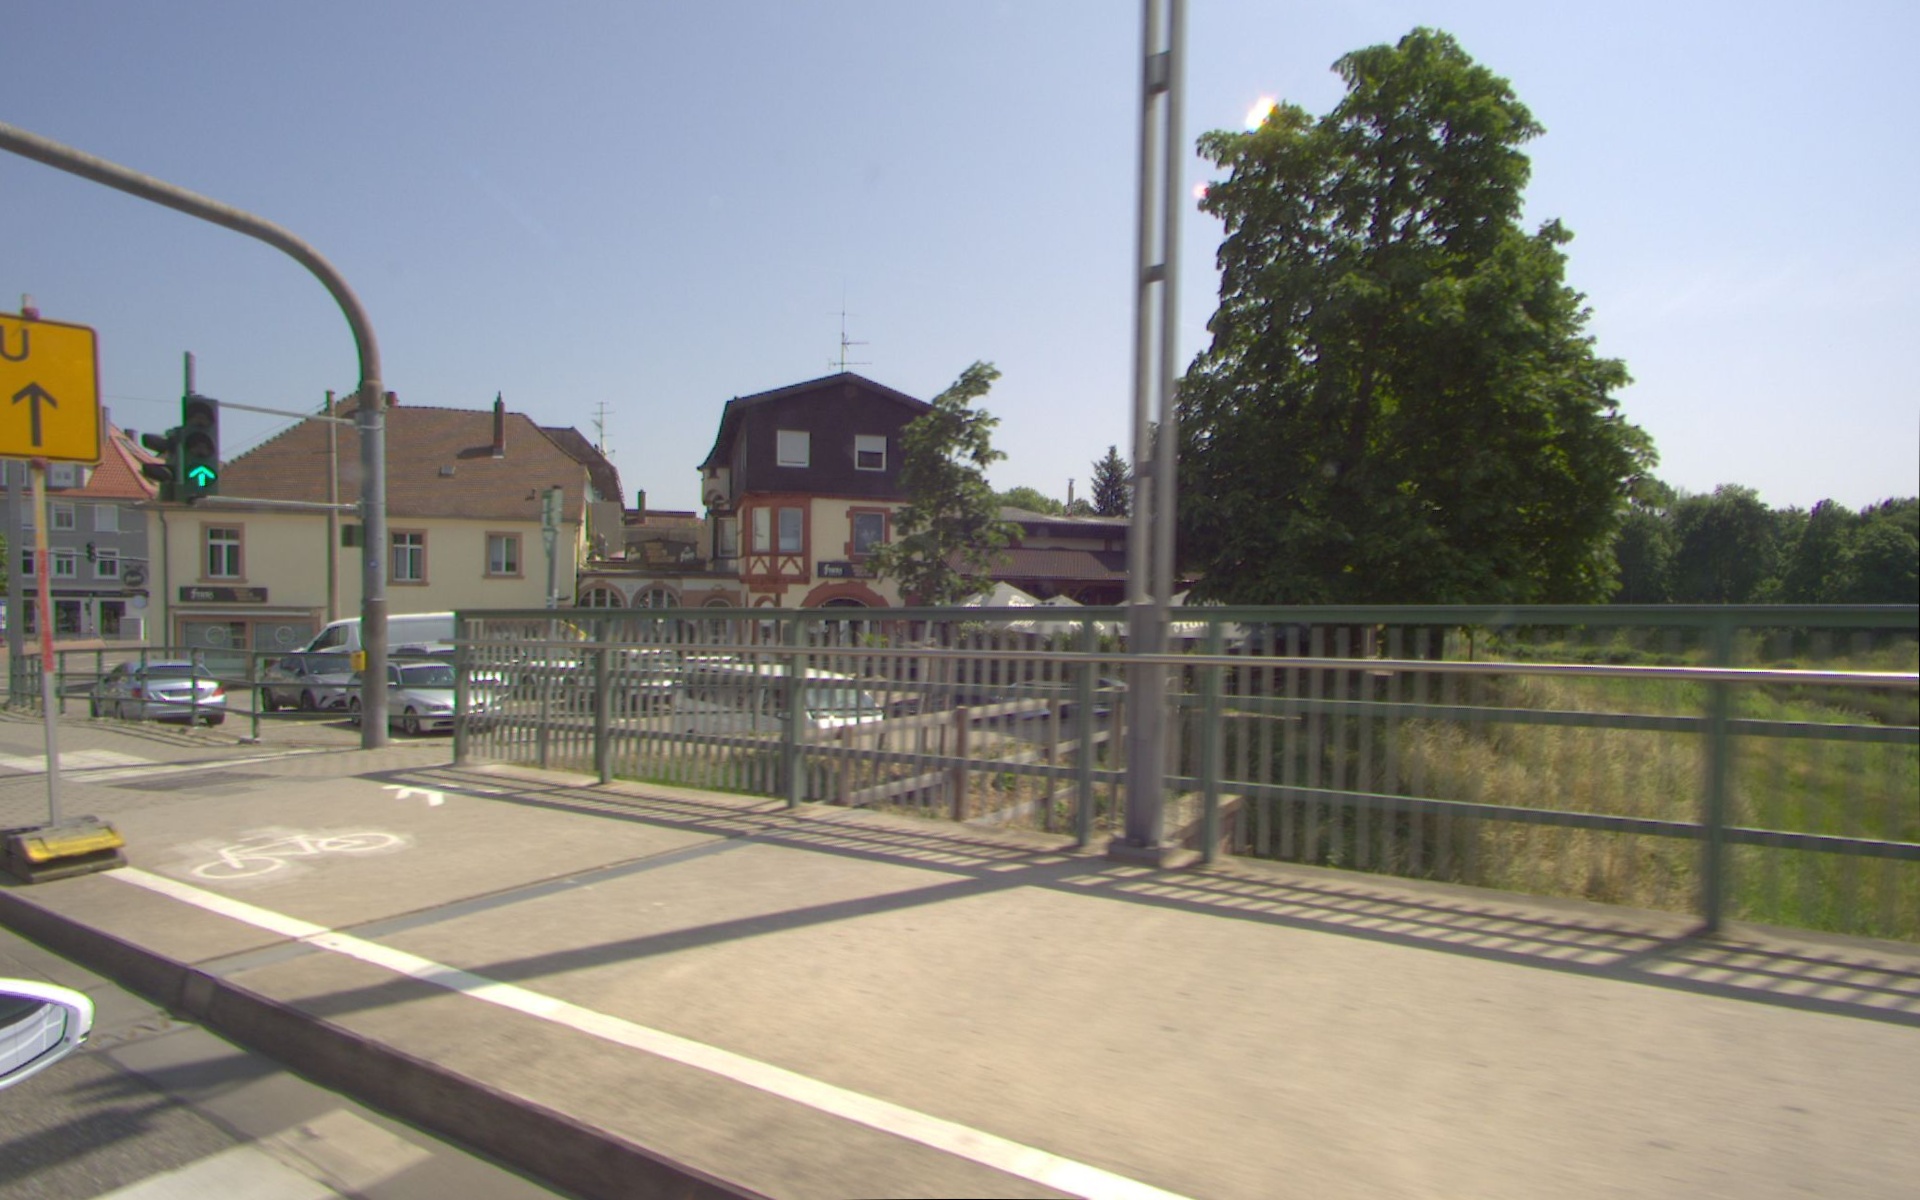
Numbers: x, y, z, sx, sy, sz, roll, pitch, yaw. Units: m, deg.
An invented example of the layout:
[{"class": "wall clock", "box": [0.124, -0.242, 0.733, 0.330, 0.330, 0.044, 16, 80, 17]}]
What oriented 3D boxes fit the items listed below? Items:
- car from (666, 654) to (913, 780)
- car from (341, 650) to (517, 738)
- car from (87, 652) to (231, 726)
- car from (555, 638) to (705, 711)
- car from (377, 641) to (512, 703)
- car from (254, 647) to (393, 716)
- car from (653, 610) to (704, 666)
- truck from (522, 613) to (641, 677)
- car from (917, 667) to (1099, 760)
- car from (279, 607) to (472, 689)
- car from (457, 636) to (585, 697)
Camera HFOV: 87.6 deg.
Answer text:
[{"class": "car", "box": [-3.073, 1.926, 17.574, 4.279, 1.733, 1.887, 1, -1, 39]}, {"class": "car", "box": [-12.045, 2.024, 22.607, 4.430, 1.600, 1.921, 1, -1, 39]}, {"class": "car", "box": [-18.733, 2.008, 23.367, 4.201, 1.490, 1.745, -1, -2, 39]}, {"class": "car", "box": [-8.677, 1.874, 26.185, 4.201, 1.727, 1.745, -1, -2, 39]}, {"class": "car", "box": [-14.163, 1.905, 27.417, 4.201, 1.538, 1.745, -1, -2, 39]}, {"class": "car", "box": [-16.346, 2.016, 25.657, 4.201, 1.538, 1.745, -1, -2, 39]}, {"class": "car", "box": [-11.070, 1.450, 39.572, 1.631, 2.040, 3.996, 2, -1, -12]}, {"class": "truck", "box": [-14.029, 1.676, 37.132, 4.005, 2.244, 1.807, 2, 0, -24]}, {"class": "car", "box": [1.068, 2.533, 23.192, 3.895, 1.733, 1.801, 1, -1, 39]}, {"class": "car", "box": [-20.067, 1.616, 34.722, 5.544, 2.662, 2.233, 1, 0, -25]}, {"class": "car", "box": [-13.062, 1.910, 29.709, 4.201, 1.664, 1.745, -1, -2, 39]}]
